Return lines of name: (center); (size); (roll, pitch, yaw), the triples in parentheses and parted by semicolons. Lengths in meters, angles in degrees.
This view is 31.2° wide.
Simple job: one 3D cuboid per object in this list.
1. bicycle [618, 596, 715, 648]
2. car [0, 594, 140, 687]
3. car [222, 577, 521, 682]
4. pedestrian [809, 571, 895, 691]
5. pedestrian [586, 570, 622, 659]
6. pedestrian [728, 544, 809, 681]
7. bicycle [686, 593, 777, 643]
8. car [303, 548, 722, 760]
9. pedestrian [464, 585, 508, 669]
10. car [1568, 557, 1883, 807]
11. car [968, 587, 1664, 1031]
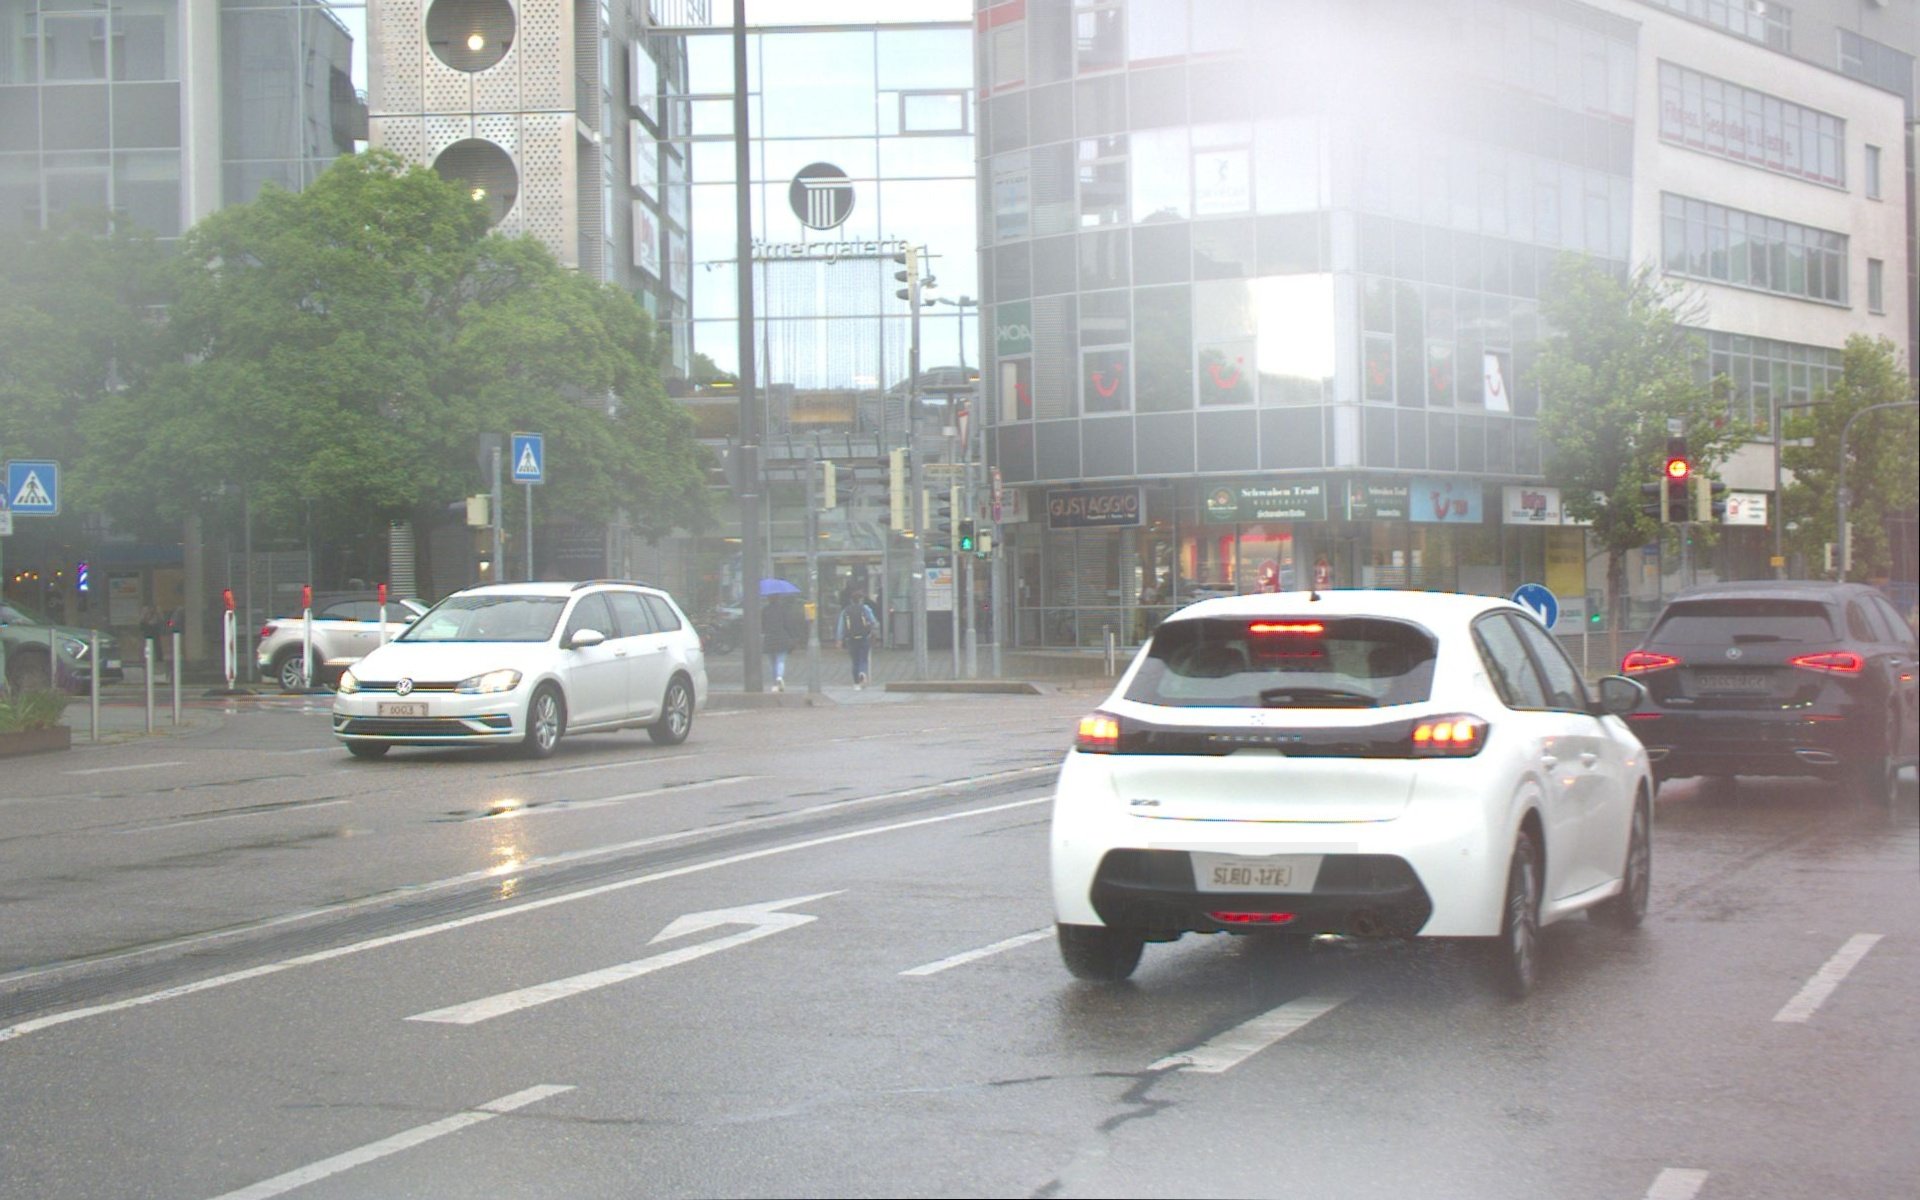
bicycle: (-7.182, 0.545, 84.147); (2.273, 1.242, 0.676); (-1, 0, 1)
car: (-15.235, 0.627, 54.298); (4.047, 1.415, 1.869); (0, 0, 9)
car: (-9.069, 0.439, 53.165); (4.193, 1.590, 1.870); (0, 0, 7)
pedestrian: (-1.653, 0.470, 52.606); (0.847, 1.813, 1.022); (-1, -1, 34)
pedestrian: (-8.091, 0.328, 78.133); (0.762, 2.007, 0.714); (0, 0, -1)
pedestrian: (-2.861, 0.173, 51.138); (1.162, 2.007, 1.328); (0, 0, -4)
bicycle: (-5.919, 0.463, 89.093); (2.273, 1.242, 0.676); (-1, 0, 1)
car: (-3.737, 0.411, 29.577); (1.887, 1.676, 4.502); (0, 0, 17)
pedestrian: (-10.645, 0.614, 77.228); (0.751, 1.862, 0.833); (-1, 0, -24)
car: (5.280, 0.490, 23.378); (1.817, 1.524, 3.809); (1, 1, 16)
car: (1.553, 0.685, 13.532); (1.873, 1.457, 3.869); (0, 0, 19)
